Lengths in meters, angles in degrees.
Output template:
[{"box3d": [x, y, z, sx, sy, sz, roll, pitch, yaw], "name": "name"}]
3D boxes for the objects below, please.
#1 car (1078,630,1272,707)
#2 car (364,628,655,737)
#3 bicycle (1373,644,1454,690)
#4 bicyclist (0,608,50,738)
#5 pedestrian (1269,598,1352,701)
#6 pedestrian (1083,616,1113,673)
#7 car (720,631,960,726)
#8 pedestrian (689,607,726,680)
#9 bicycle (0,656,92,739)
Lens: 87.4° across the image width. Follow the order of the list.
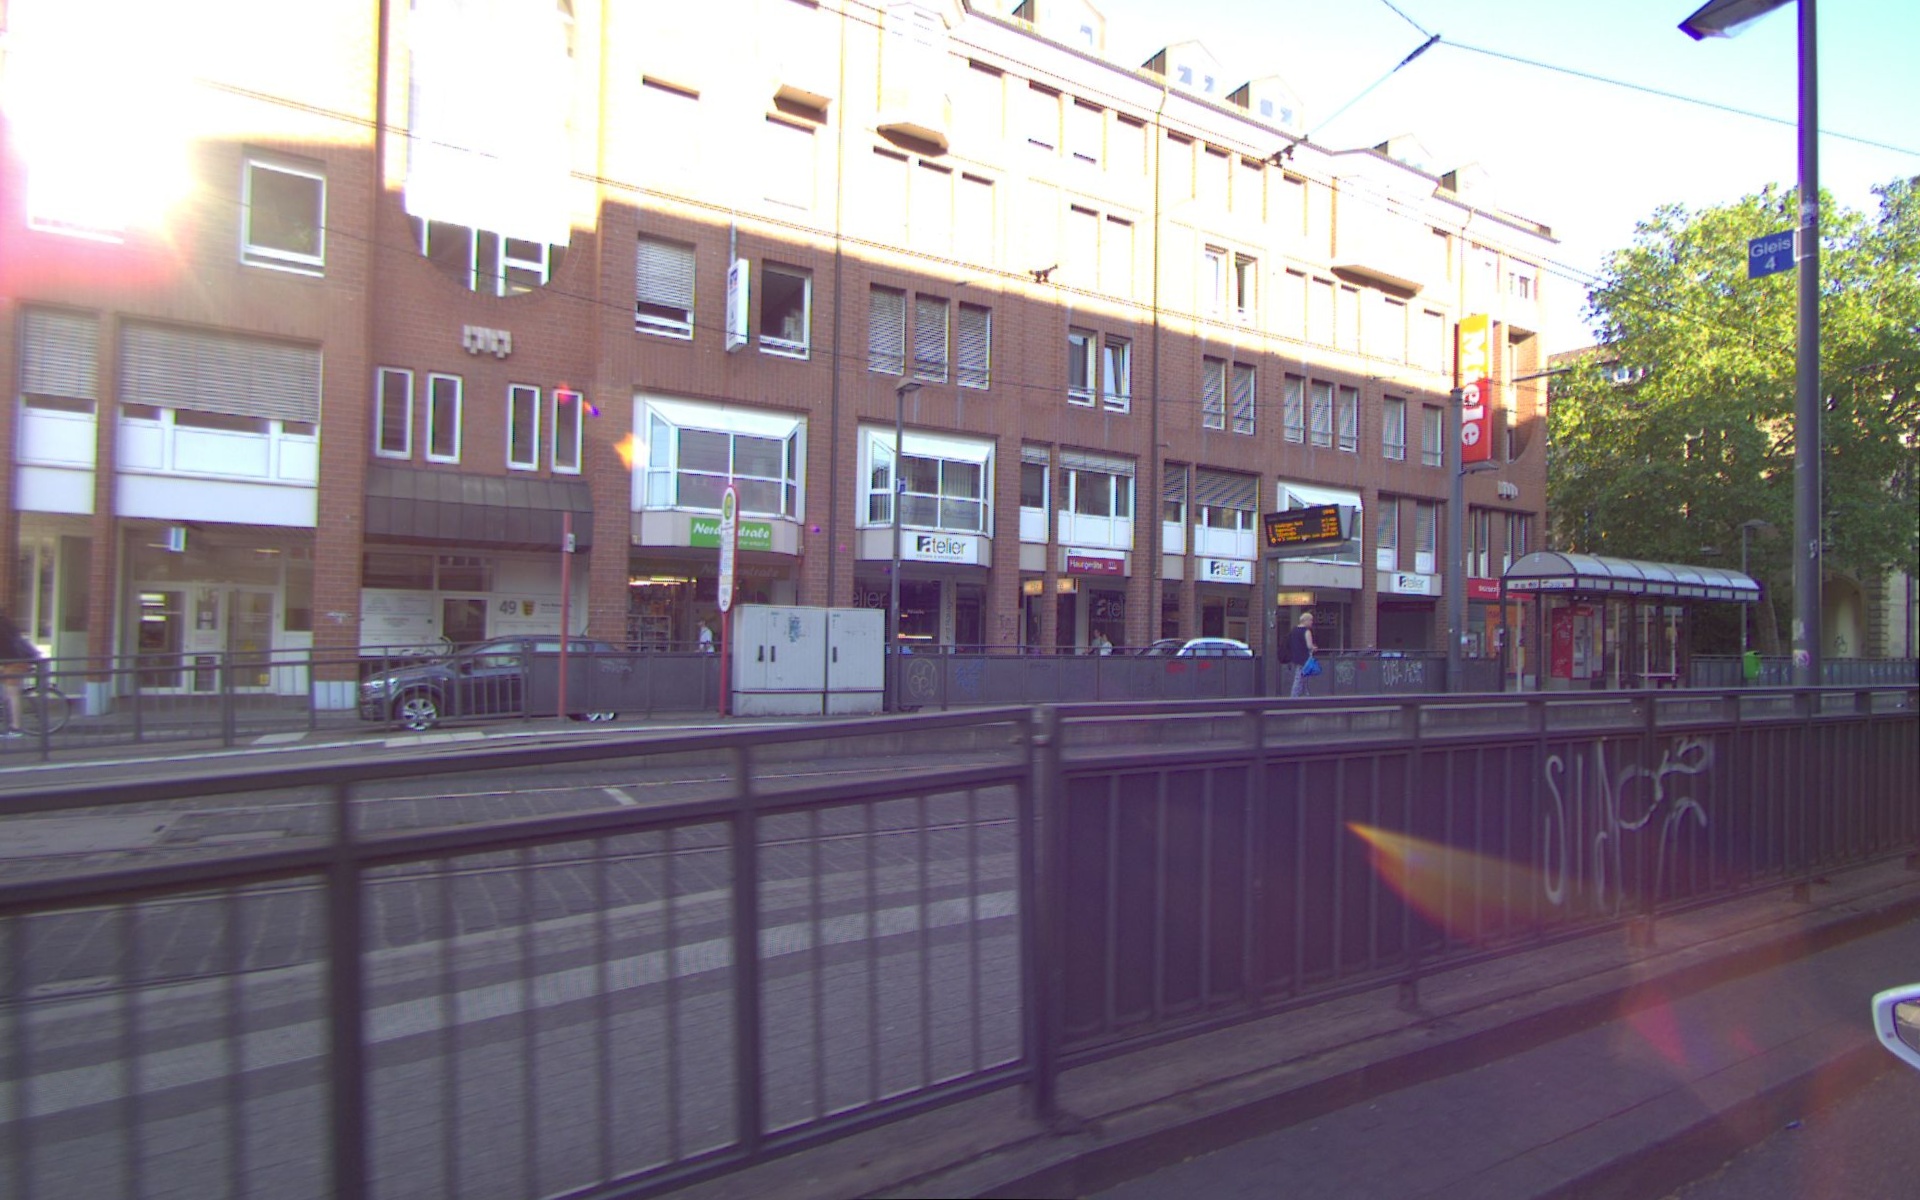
[{"box3d": [5.050, 1.618, 23.439, 4.241, 1.614, 1.901, 4, -4, -30], "name": "car"}, {"box3d": [-7.250, 1.268, 16.261, 4.074, 1.549, 1.892, 2, -3, -32], "name": "car"}, {"box3d": [15.260, 2.231, 33.901, 0.828, 1.299, 2.603, 3, 1, -22], "name": "bicycle"}, {"box3d": [-13.711, 1.034, 14.422, 0.803, 1.790, 0.731, 2, 1, -33], "name": "bicyclist"}, {"box3d": [5.949, 0.837, 17.073, 0.956, 1.684, 0.906, 2, -1, -31], "name": "pedestrian"}, {"box3d": [4.162, 1.335, 30.248, 0.631, 1.684, 0.607, 3, -2, -36], "name": "pedestrian"}, {"box3d": [-2.255, 1.431, 19.162, 4.150, 1.621, 1.882, 2, -2, -32], "name": "car"}, {"box3d": [-5.945, 1.023, 23.637, 0.630, 1.684, 0.608, 2, -1, -31], "name": "pedestrian"}, {"box3d": [-13.849, 1.396, 14.405, 2.034, 1.135, 0.569, 3, 1, -34], "name": "bicycle"}]
